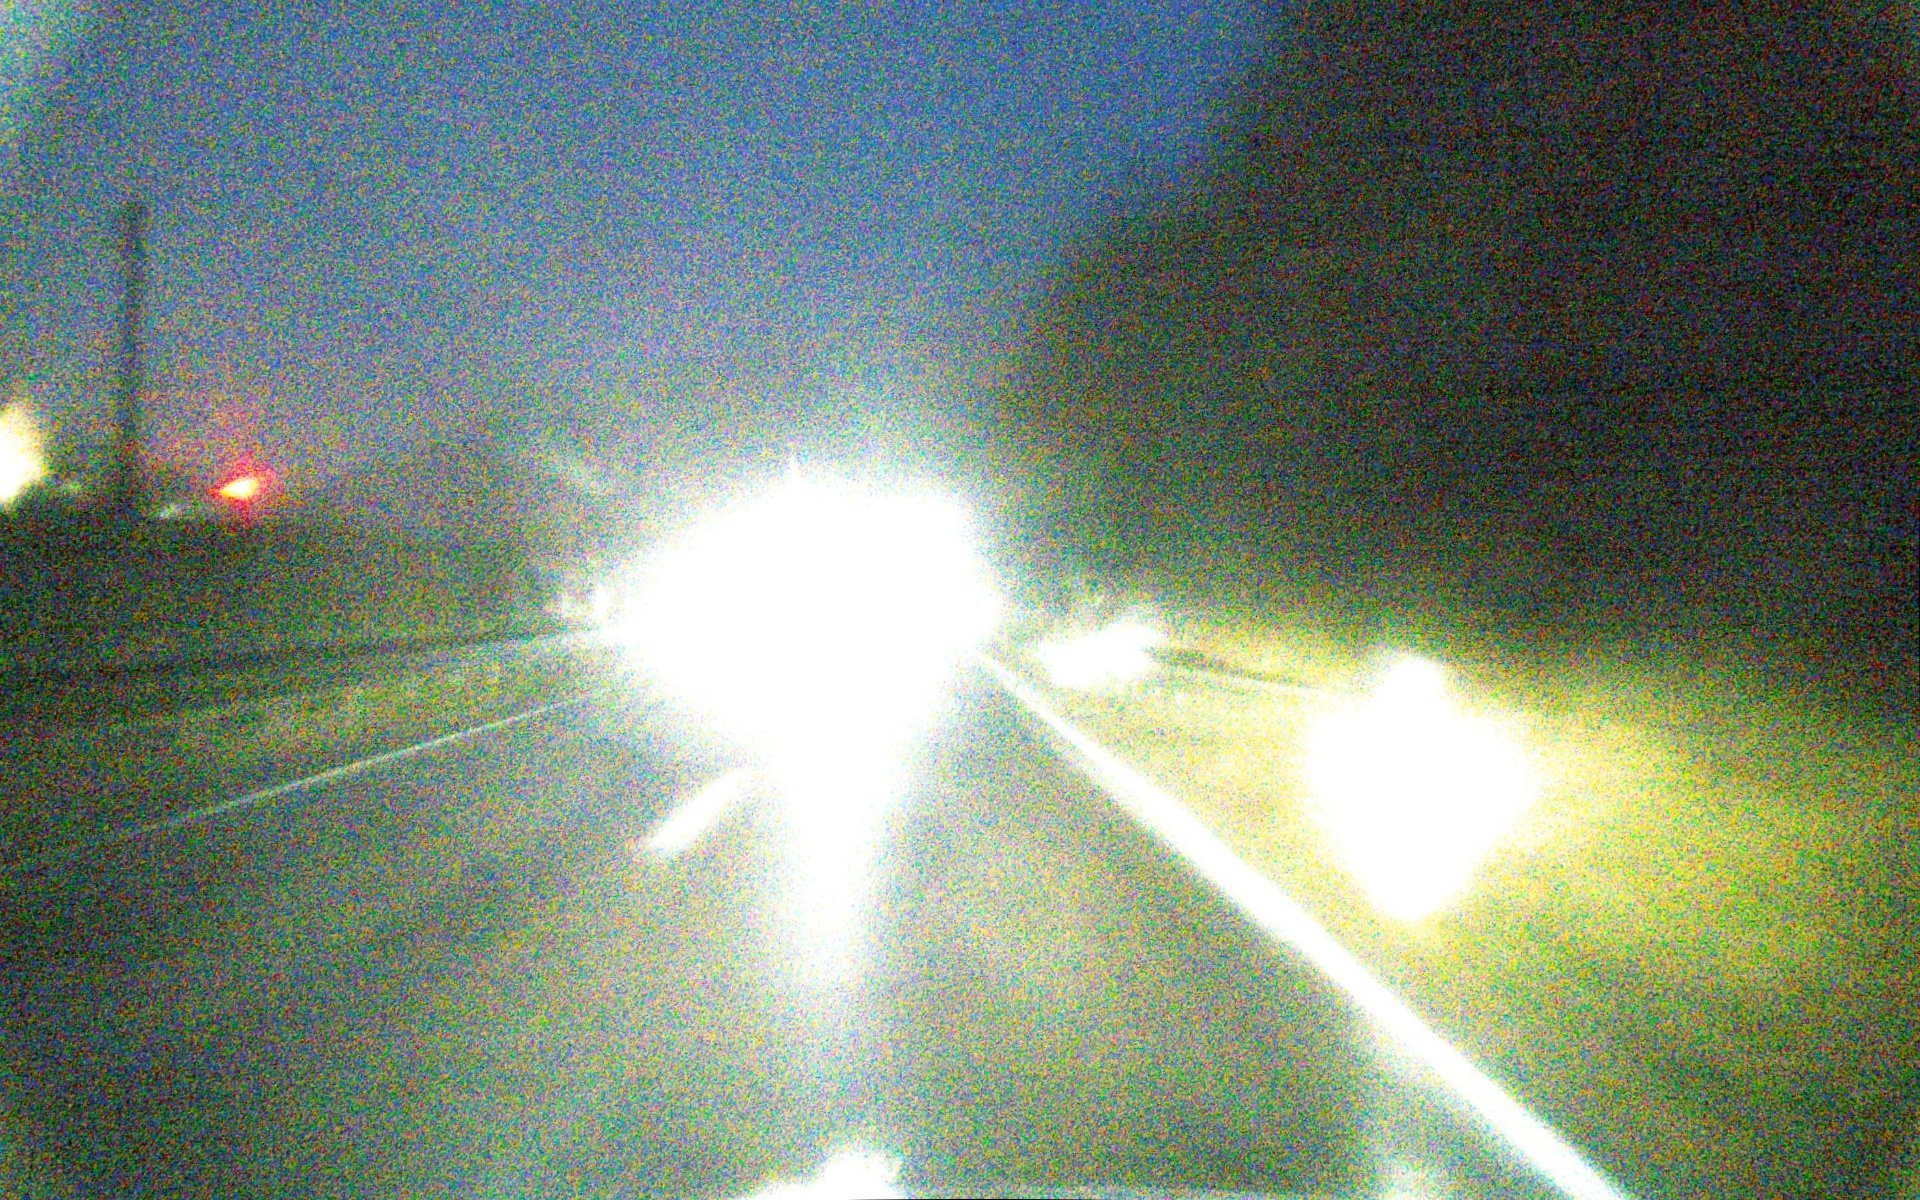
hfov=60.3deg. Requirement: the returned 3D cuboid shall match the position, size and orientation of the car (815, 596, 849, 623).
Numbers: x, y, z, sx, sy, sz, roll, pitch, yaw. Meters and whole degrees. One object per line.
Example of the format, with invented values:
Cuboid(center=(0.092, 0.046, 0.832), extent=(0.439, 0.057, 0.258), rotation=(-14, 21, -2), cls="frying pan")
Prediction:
Cuboid(center=(-7.871, 0.560, 102.285), extent=(1.954, 1.526, 3.998), rotation=(1, 1, -3), cls="car")
